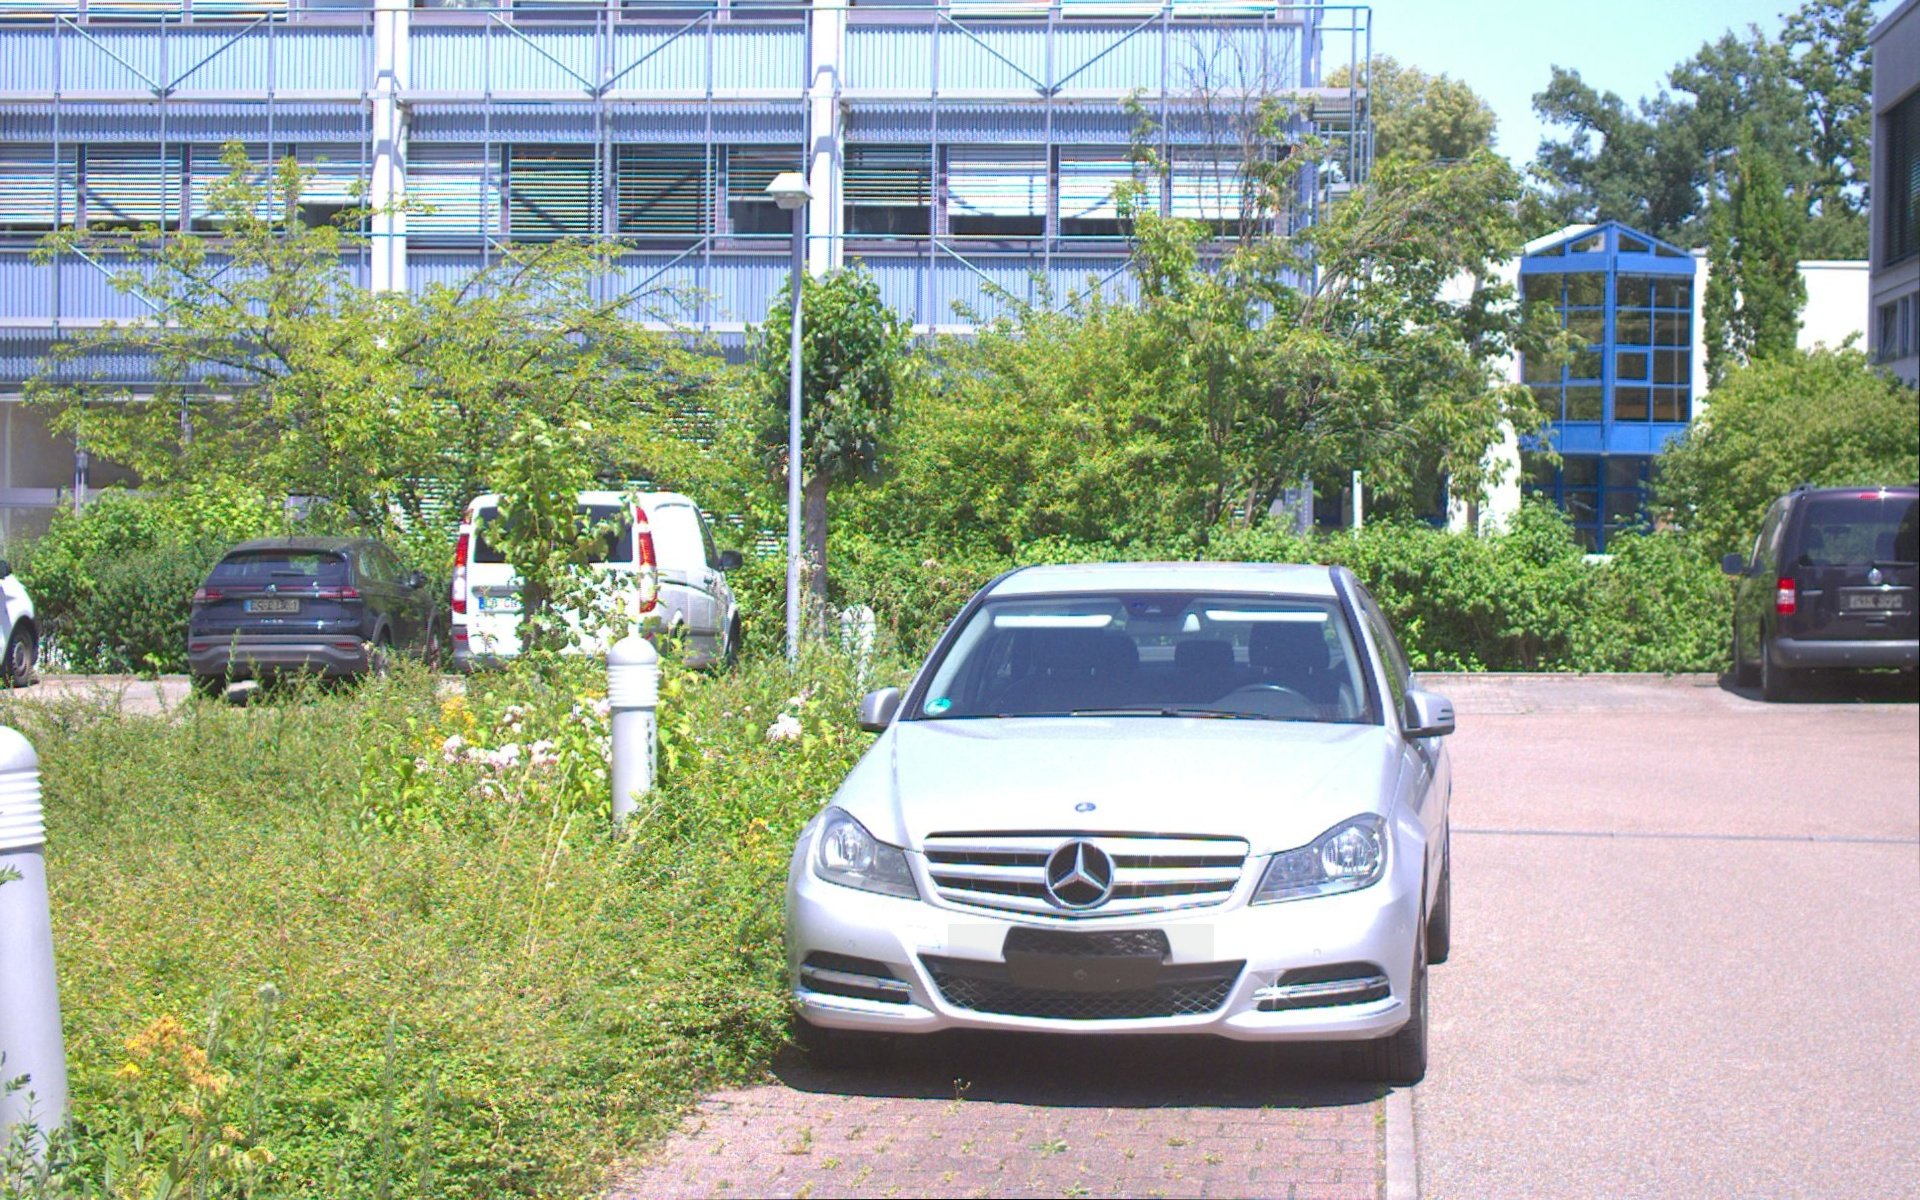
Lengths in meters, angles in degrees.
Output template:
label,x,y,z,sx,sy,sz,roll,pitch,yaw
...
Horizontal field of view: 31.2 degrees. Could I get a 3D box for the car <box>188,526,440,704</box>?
label,x,y,z,sx,sy,sz,roll,pitch,yaw
car,-5.971,0.087,32.173,1.754,1.471,4.001,-1,2,-3

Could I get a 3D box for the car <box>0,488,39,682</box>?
label,x,y,z,sx,sy,sz,roll,pitch,yaw
car,-10.502,-0.089,32.198,1.882,1.884,4.802,0,2,8

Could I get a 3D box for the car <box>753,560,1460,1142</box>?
label,x,y,z,sx,sy,sz,roll,pitch,yaw
car,0.659,0.613,10.859,1.730,1.452,4.146,0,1,9

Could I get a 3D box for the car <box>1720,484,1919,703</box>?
label,x,y,z,sx,sy,sz,roll,pitch,yaw
car,7.923,-0.109,30.815,1.743,1.830,3.999,0,2,6

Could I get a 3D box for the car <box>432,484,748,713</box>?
label,x,y,z,sx,sy,sz,roll,pitch,yaw
car,-3.257,-0.090,31.266,1.913,1.898,4.807,0,2,5
